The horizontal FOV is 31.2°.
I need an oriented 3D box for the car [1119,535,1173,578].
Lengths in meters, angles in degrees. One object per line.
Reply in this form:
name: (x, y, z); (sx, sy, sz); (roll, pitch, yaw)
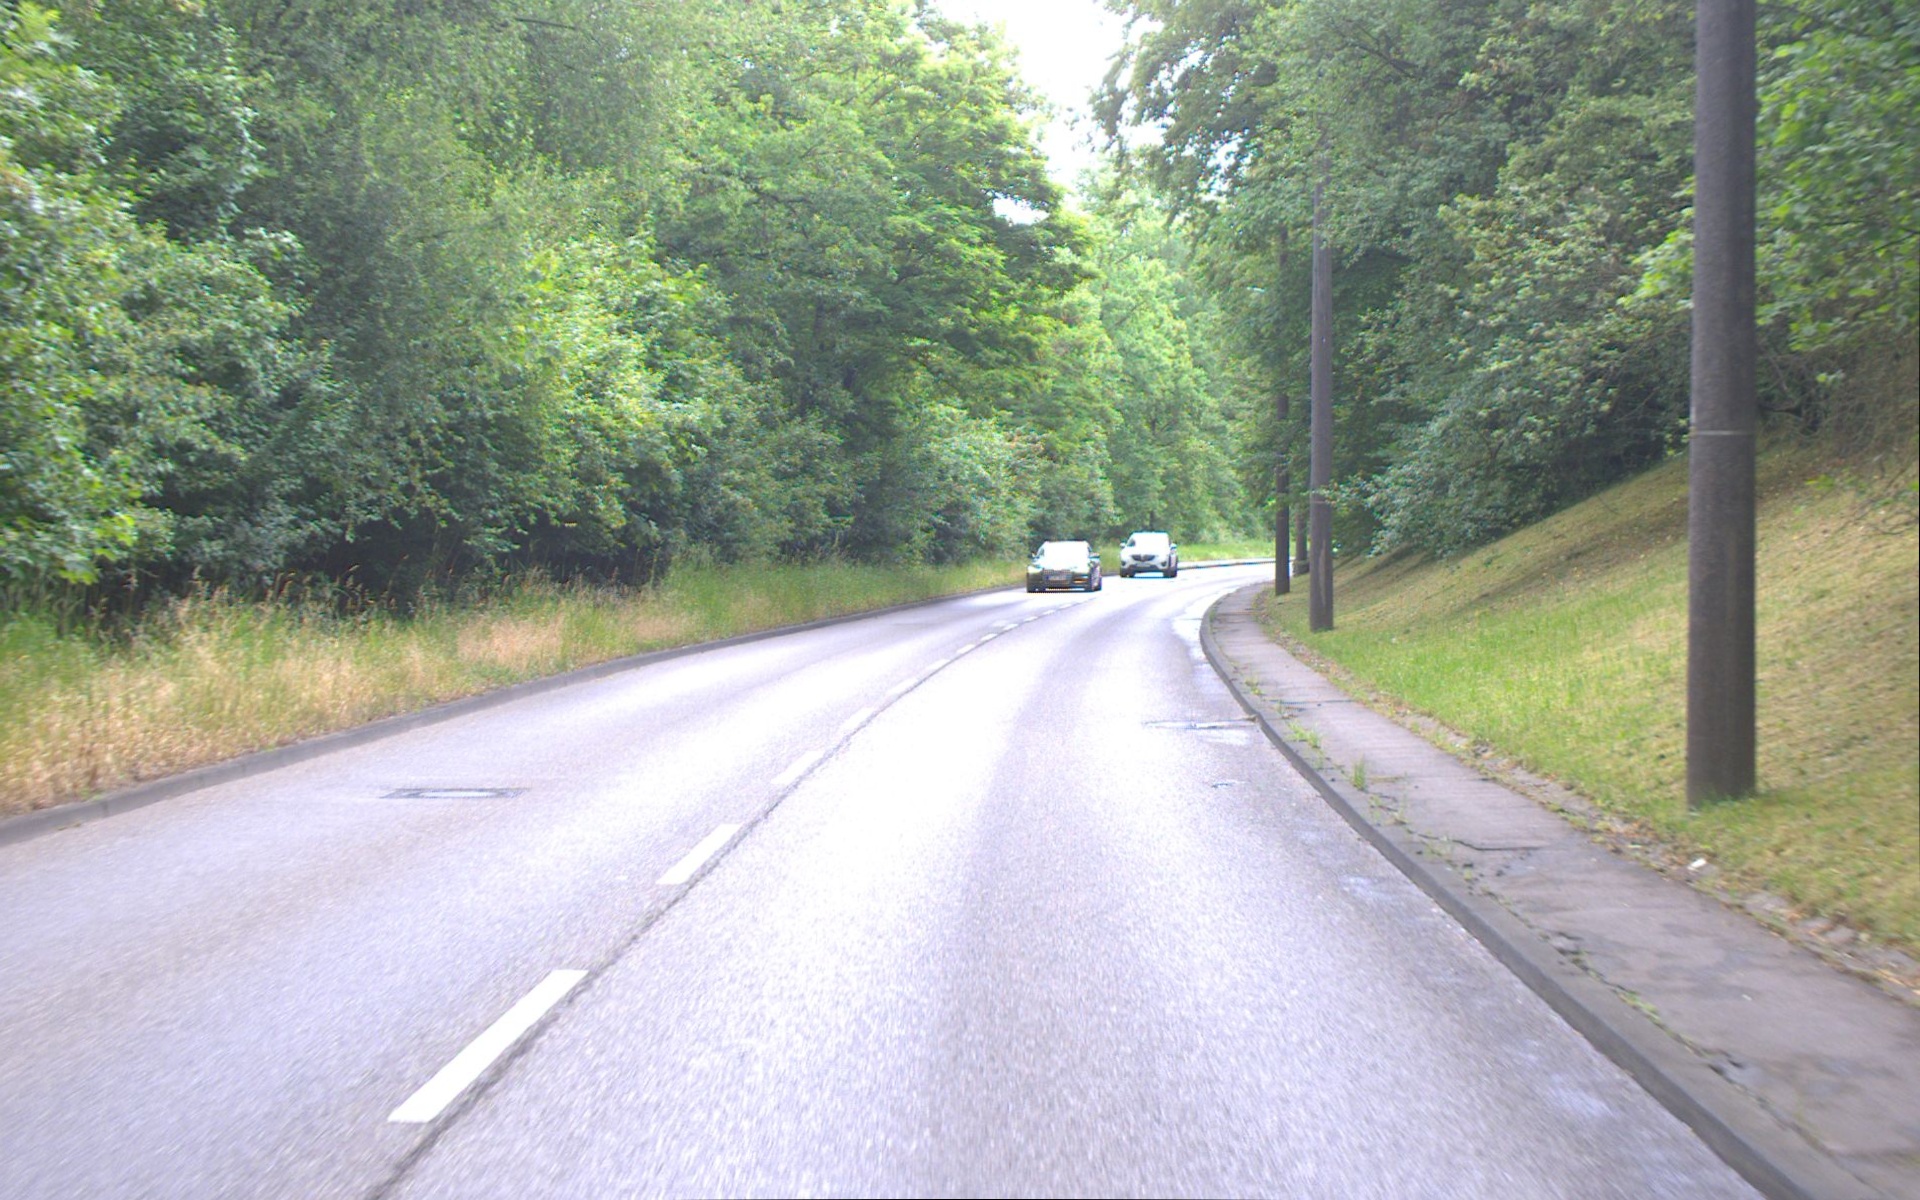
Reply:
car: (6.899, -1.621, 127.914); (1.942, 1.576, 4.440); (0, 1, 2)

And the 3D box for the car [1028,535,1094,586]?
car: (2.875, -1.133, 97.432); (1.810, 1.415, 4.000); (0, 1, 2)
